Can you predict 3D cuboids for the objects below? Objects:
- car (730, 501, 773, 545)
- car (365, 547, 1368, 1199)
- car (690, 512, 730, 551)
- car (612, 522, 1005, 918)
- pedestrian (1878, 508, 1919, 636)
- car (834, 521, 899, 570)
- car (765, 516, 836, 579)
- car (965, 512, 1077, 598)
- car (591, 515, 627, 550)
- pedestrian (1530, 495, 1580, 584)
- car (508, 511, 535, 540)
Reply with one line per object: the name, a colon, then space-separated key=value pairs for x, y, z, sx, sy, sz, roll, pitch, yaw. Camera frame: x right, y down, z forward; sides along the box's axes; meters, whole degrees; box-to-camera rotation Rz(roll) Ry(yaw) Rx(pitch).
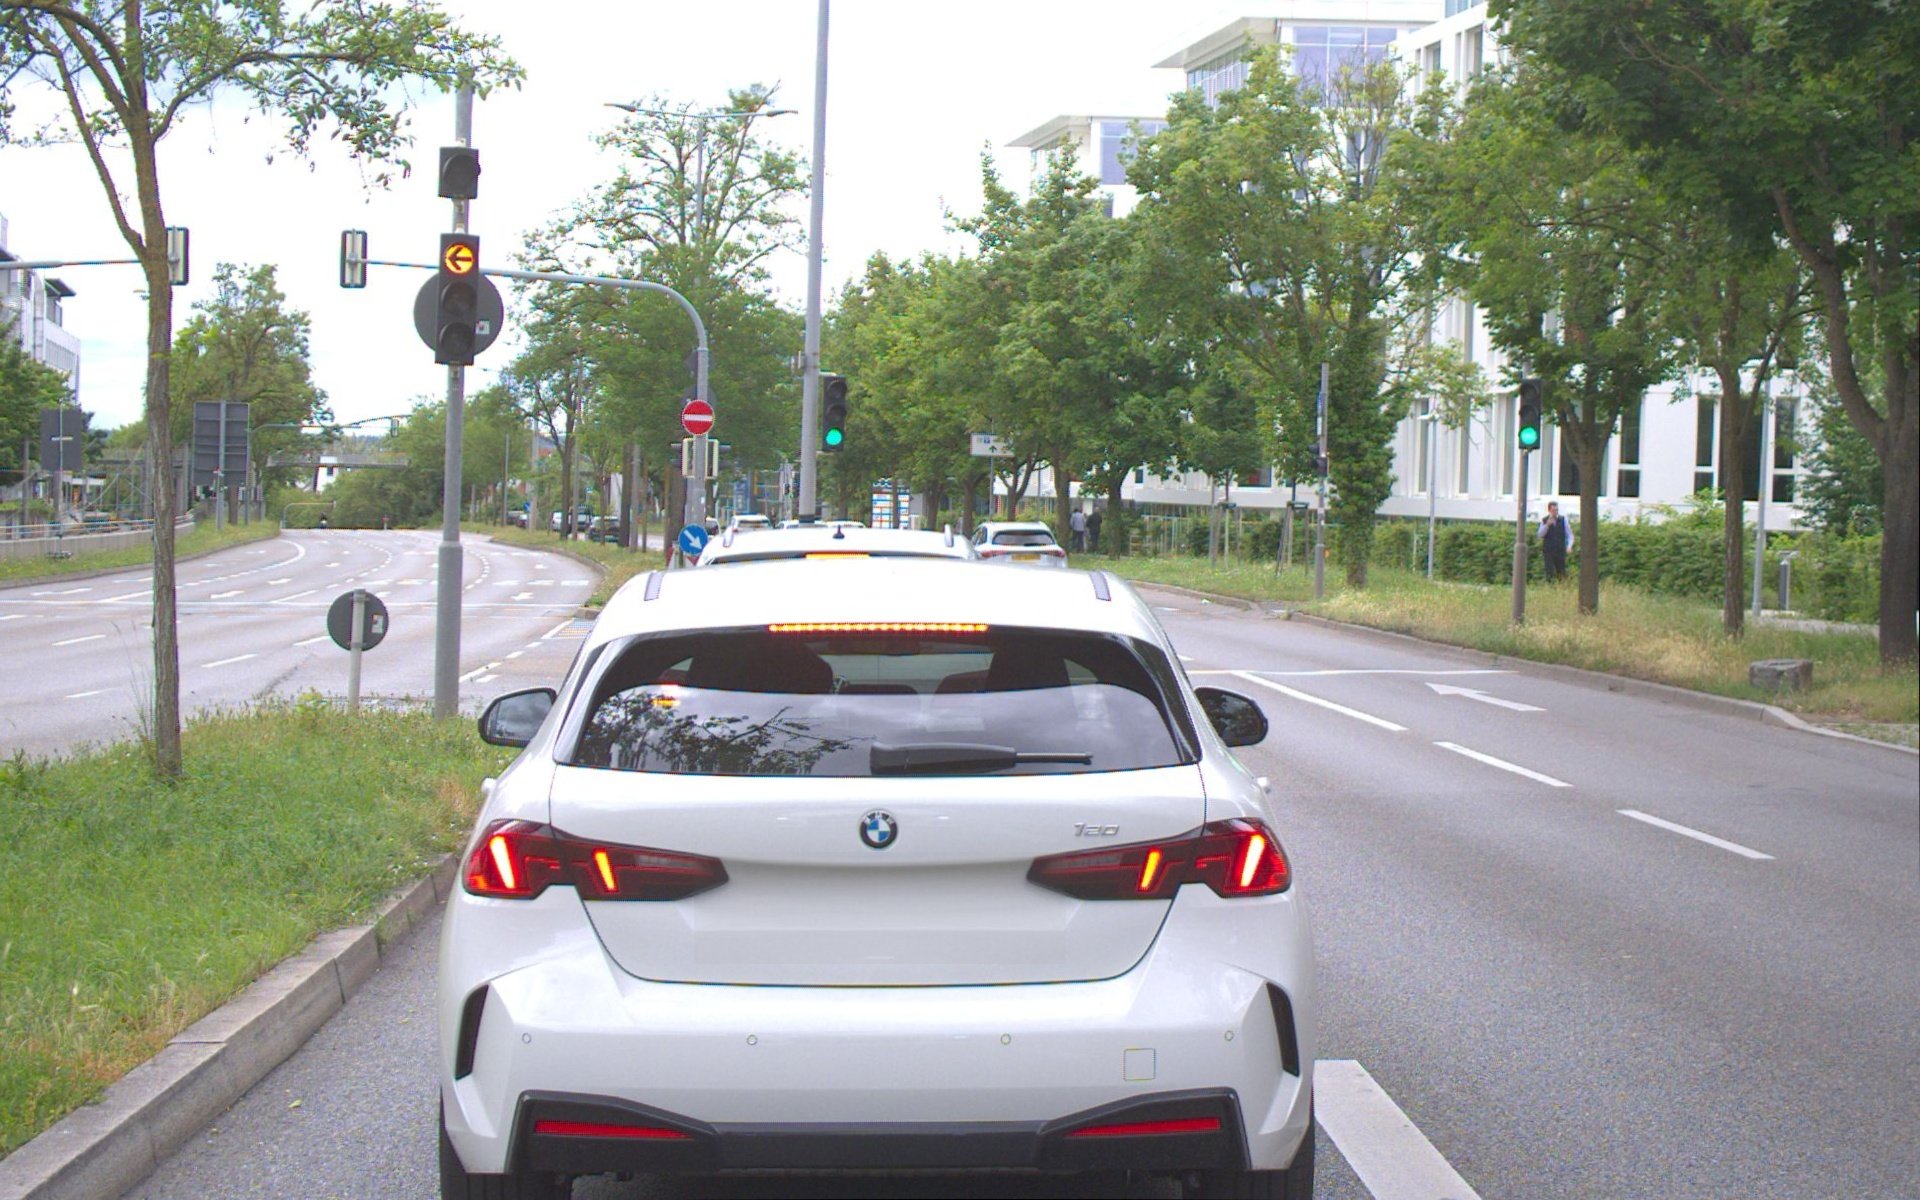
car: x=-8.092 y=-2.984 z=133.413 sx=1.601 sy=1.661 sz=4.001 roll=1 pitch=1 yaw=-4
car: x=-0.197 y=0.616 z=8.338 sx=1.822 sy=1.433 sz=4.000 roll=1 pitch=1 yaw=-1
car: x=-11.179 y=-3.071 z=153.861 sx=1.738 sy=1.661 sz=4.001 roll=1 pitch=1 yaw=-4
car: x=-0.634 y=0.446 z=15.856 sx=1.549 sy=1.563 sz=4.000 roll=1 pitch=1 yaw=-1
pedestrian: x=11.109 y=-0.319 z=39.477 sx=0.789 sy=1.443 sz=1.112 roll=1 pitch=0 yaw=-1
car: x=-2.945 y=-1.713 z=107.867 sx=1.692 sy=1.481 sz=3.694 roll=1 pitch=1 yaw=-7
car: x=-4.543 y=-1.492 z=97.379 sx=1.695 sy=1.711 sz=4.001 roll=1 pitch=1 yaw=-7
car: x=1.190 y=-0.914 z=68.915 sx=1.993 sy=1.664 sz=4.001 roll=0 pitch=1 yaw=-3
car: x=-17.300 y=-3.311 z=169.504 sx=1.601 sy=1.661 sz=4.001 roll=1 pitch=1 yaw=-4
pedestrian: x=10.551 y=-1.067 z=60.988 sx=0.741 sy=1.568 sz=0.674 roll=1 pitch=0 yaw=-1
car: x=-31.740 y=-5.402 z=248.872 sx=1.837 sy=2.007 sz=4.001 roll=1 pitch=1 yaw=-6
